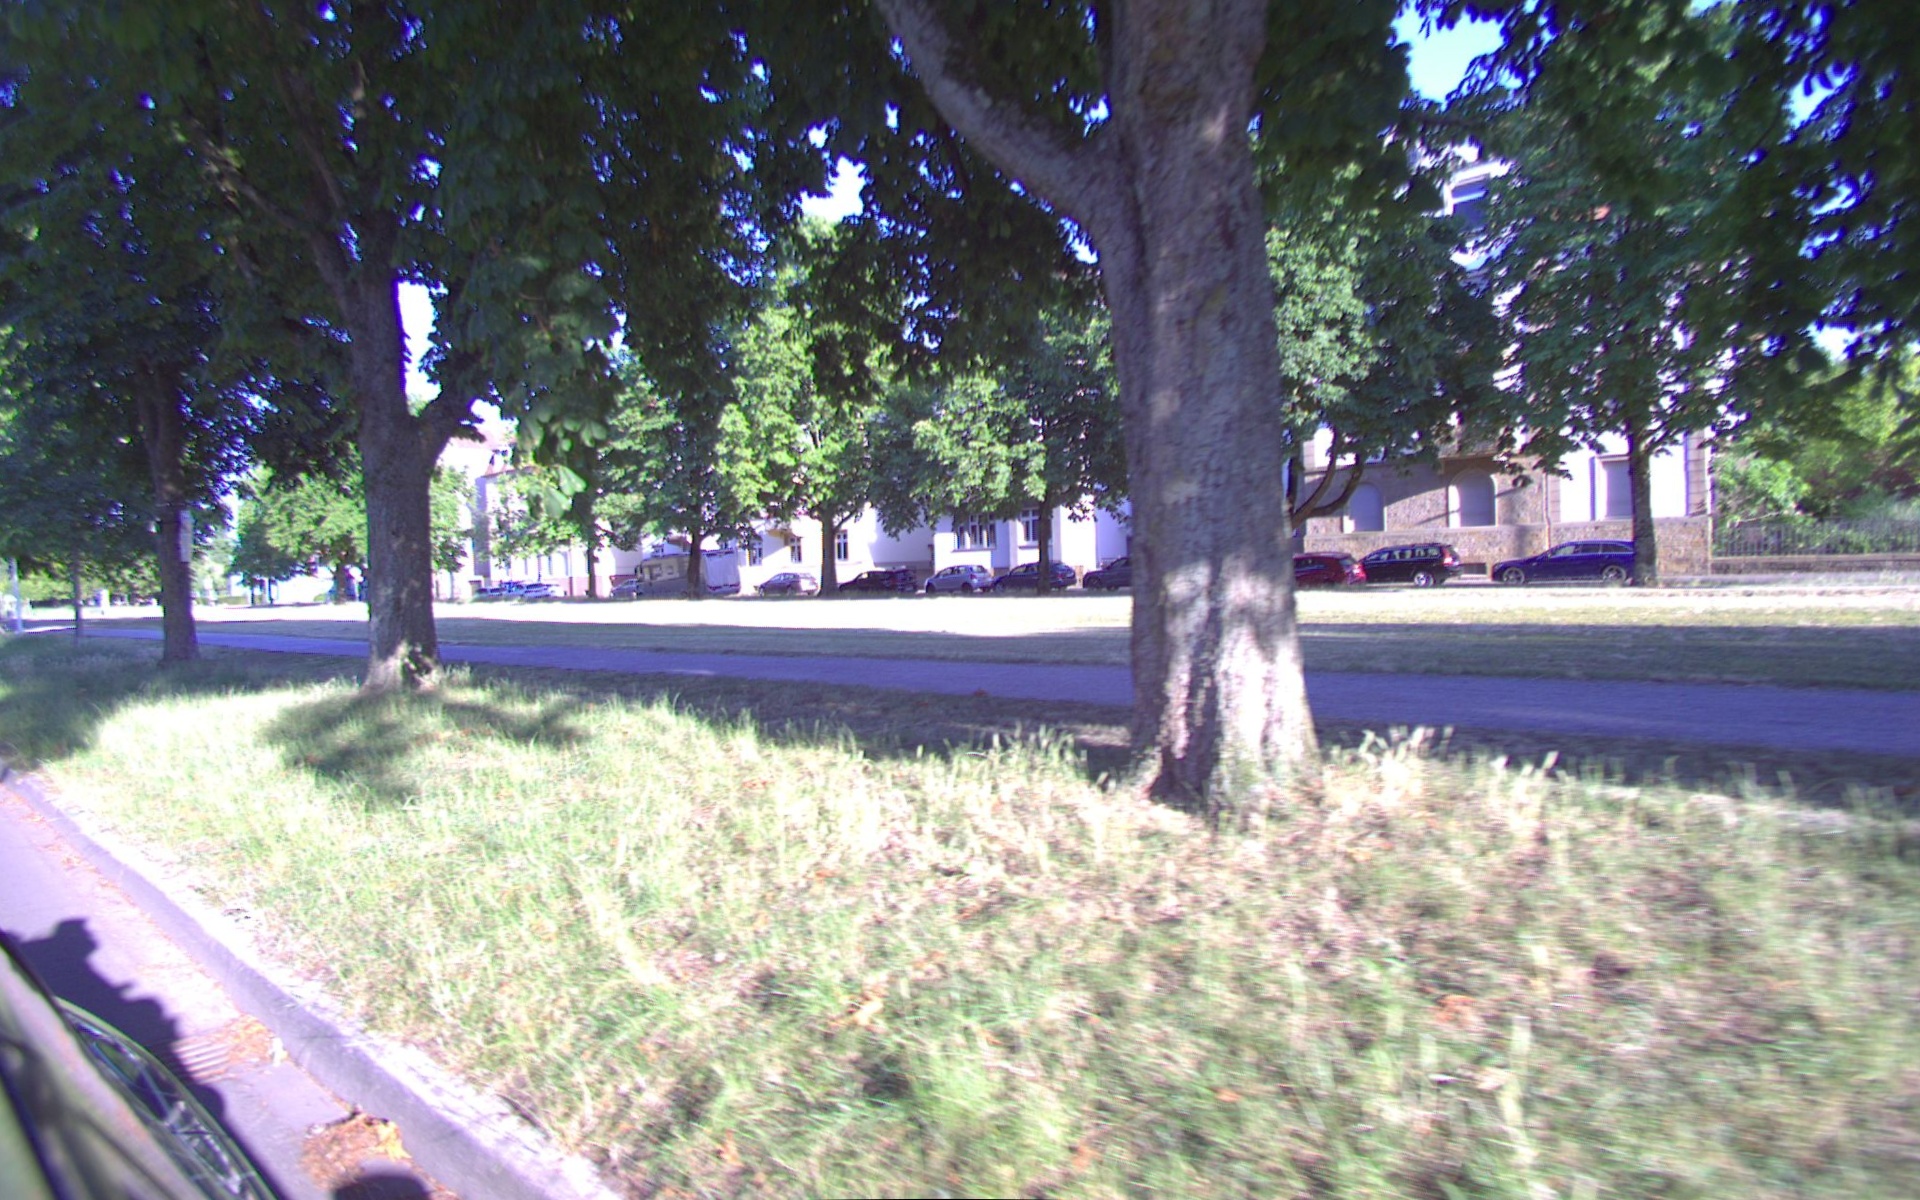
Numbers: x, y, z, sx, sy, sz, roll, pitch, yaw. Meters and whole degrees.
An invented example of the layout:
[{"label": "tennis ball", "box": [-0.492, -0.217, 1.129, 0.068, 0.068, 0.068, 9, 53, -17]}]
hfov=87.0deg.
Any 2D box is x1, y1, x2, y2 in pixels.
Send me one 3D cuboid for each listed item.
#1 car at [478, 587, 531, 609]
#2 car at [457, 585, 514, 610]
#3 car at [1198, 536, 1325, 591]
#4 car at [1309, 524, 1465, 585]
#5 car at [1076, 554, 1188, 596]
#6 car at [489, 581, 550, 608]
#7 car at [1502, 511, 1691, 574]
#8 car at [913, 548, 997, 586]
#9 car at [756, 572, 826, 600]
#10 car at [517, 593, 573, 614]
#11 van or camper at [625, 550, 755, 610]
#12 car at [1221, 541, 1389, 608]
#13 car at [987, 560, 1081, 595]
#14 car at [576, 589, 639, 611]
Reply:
[{"label": "car", "box": [-38.284, -0.183, 84.997, 4.870, 1.702, 1.974, 0, 3, 39]}, {"label": "car", "box": [-34.817, -0.172, 74.201, 4.874, 1.702, 1.973, 0, 3, 42]}, {"label": "car", "box": [12.058, -1.456, 40.614, 4.425, 2.028, 1.974, 0, 3, 40]}, {"label": "car", "box": [15.662, -1.638, 37.285, 4.876, 2.028, 1.972, 0, 3, 43]}, {"label": "car", "box": [7.556, -1.089, 44.619, 4.425, 1.664, 1.974, 0, 3, 40]}, {"label": "car", "box": [-30.642, -0.381, 70.364, 4.874, 1.702, 1.973, 0, 3, 42]}, {"label": "car", "box": [20.669, -1.831, 32.973, 5.003, 1.762, 1.974, -1, 3, 39]}, {"label": "car", "box": [-0.276, -1.647, 51.433, 4.000, 1.747, 1.972, -1, 3, 43]}, {"label": "car", "box": [-10.115, -0.809, 60.335, 3.998, 1.475, 1.973, -1, 2, 41]}, {"label": "car", "box": [-33.217, 0.278, 81.012, 4.870, 1.464, 1.975, 0, 3, 39]}, {"label": "van or camper", "box": [-15.463, -1.111, 57.543, 7.894, 3.133, 3.221, 0, 3, 42]}, {"label": "car", "box": [11.402, -0.827, 33.632, 4.876, 2.028, 1.972, 0, 3, 43]}, {"label": "car", "box": [3.504, -1.055, 48.343, 4.169, 1.440, 1.972, -1, 2, 43]}, {"label": "car", "box": [-25.705, 0.002, 73.707, 4.870, 1.464, 1.975, 0, 3, 39]}]
